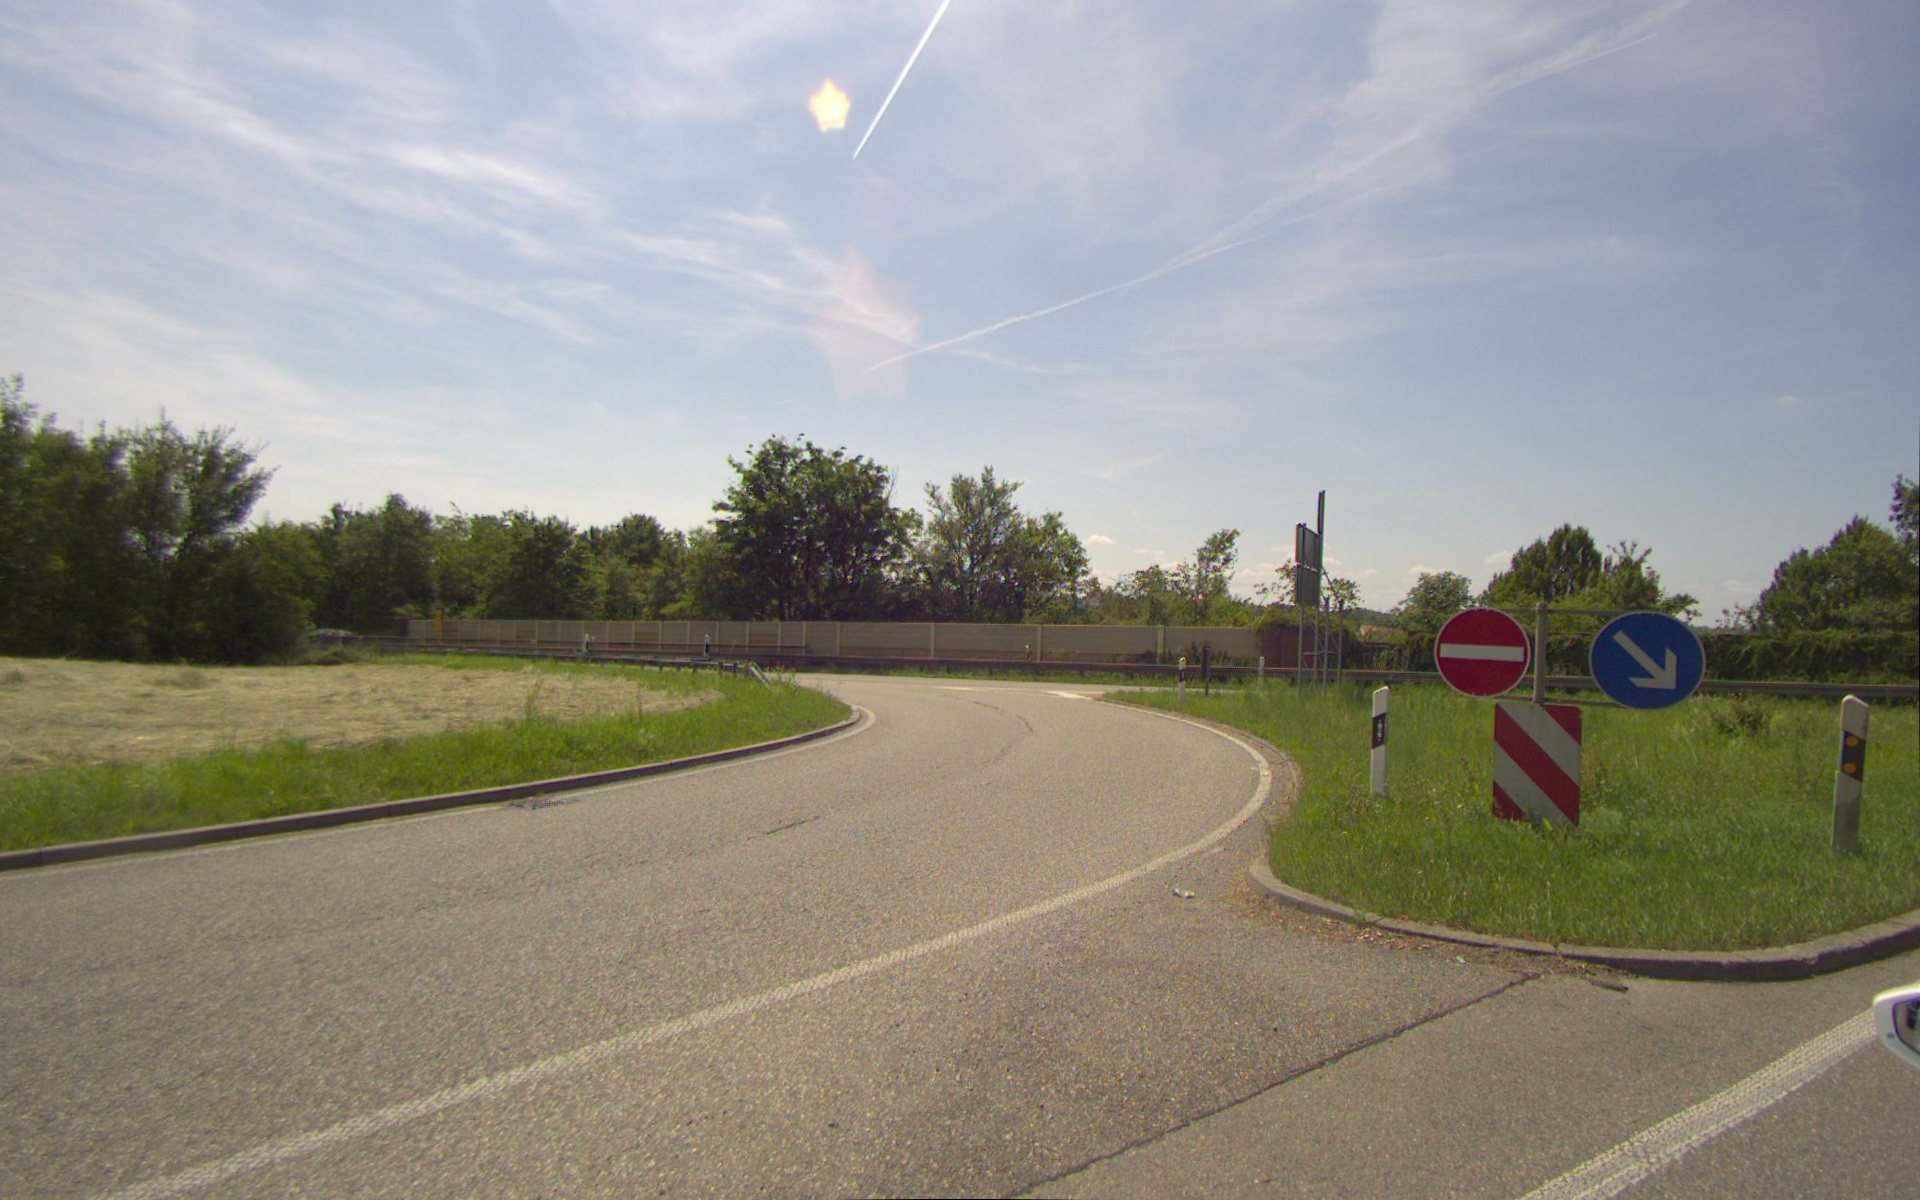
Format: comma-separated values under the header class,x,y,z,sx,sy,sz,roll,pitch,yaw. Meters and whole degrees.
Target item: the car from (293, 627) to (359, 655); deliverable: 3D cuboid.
class,x,y,z,sx,sy,sz,roll,pitch,yaw
car,-38.238,2.462,60.553,4.035,1.559,1.751,0,-1,32
